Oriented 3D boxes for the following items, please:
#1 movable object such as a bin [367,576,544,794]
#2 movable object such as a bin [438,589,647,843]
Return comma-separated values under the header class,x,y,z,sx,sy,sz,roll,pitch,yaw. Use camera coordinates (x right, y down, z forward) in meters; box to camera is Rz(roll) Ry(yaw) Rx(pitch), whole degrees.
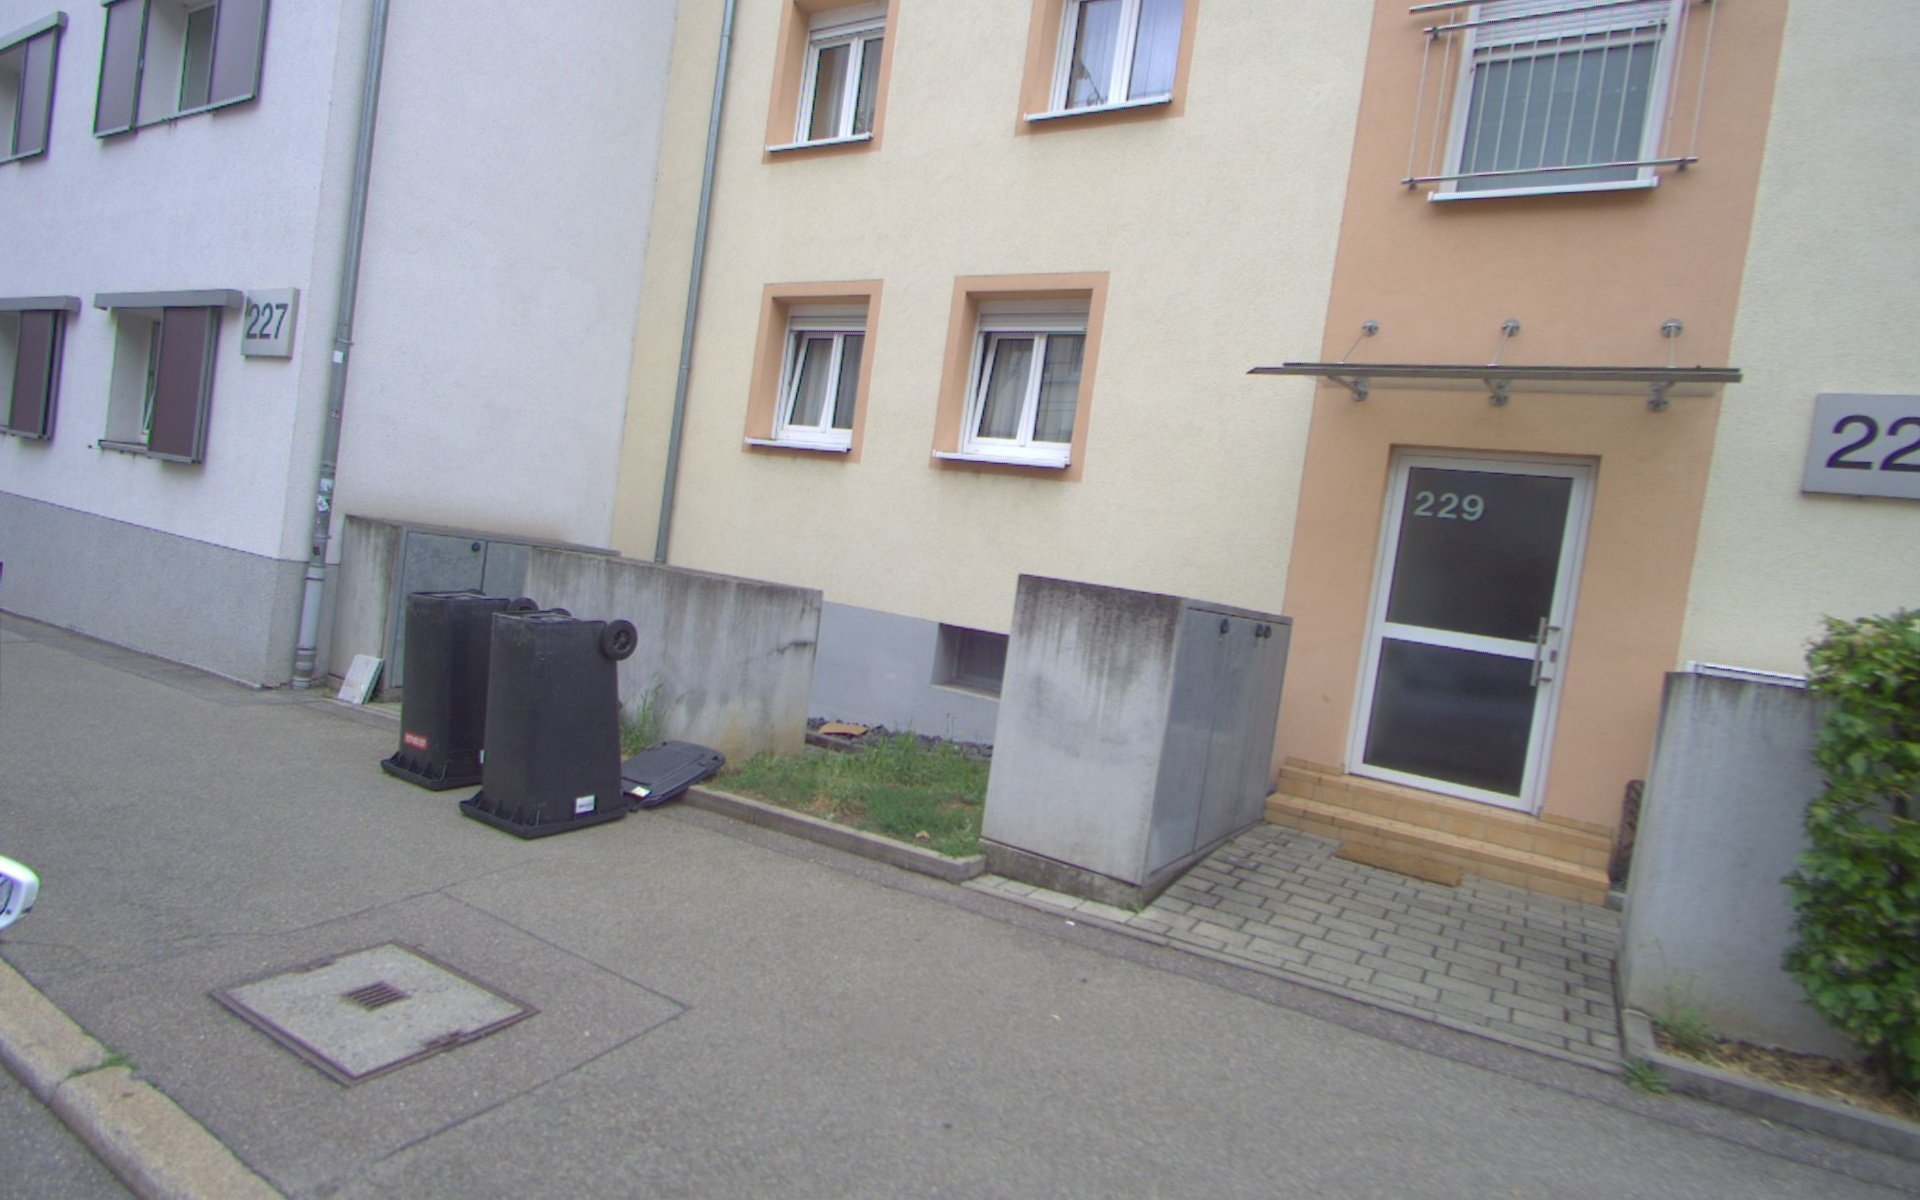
class,x,y,z,sx,sy,sz,roll,pitch,yaw
movable object such as a bin,-2.797,0.458,5.596,0.533,1.093,0.611,7,1,33
movable object such as a bin,-2.059,0.542,4.969,0.680,1.093,0.589,7,1,33
